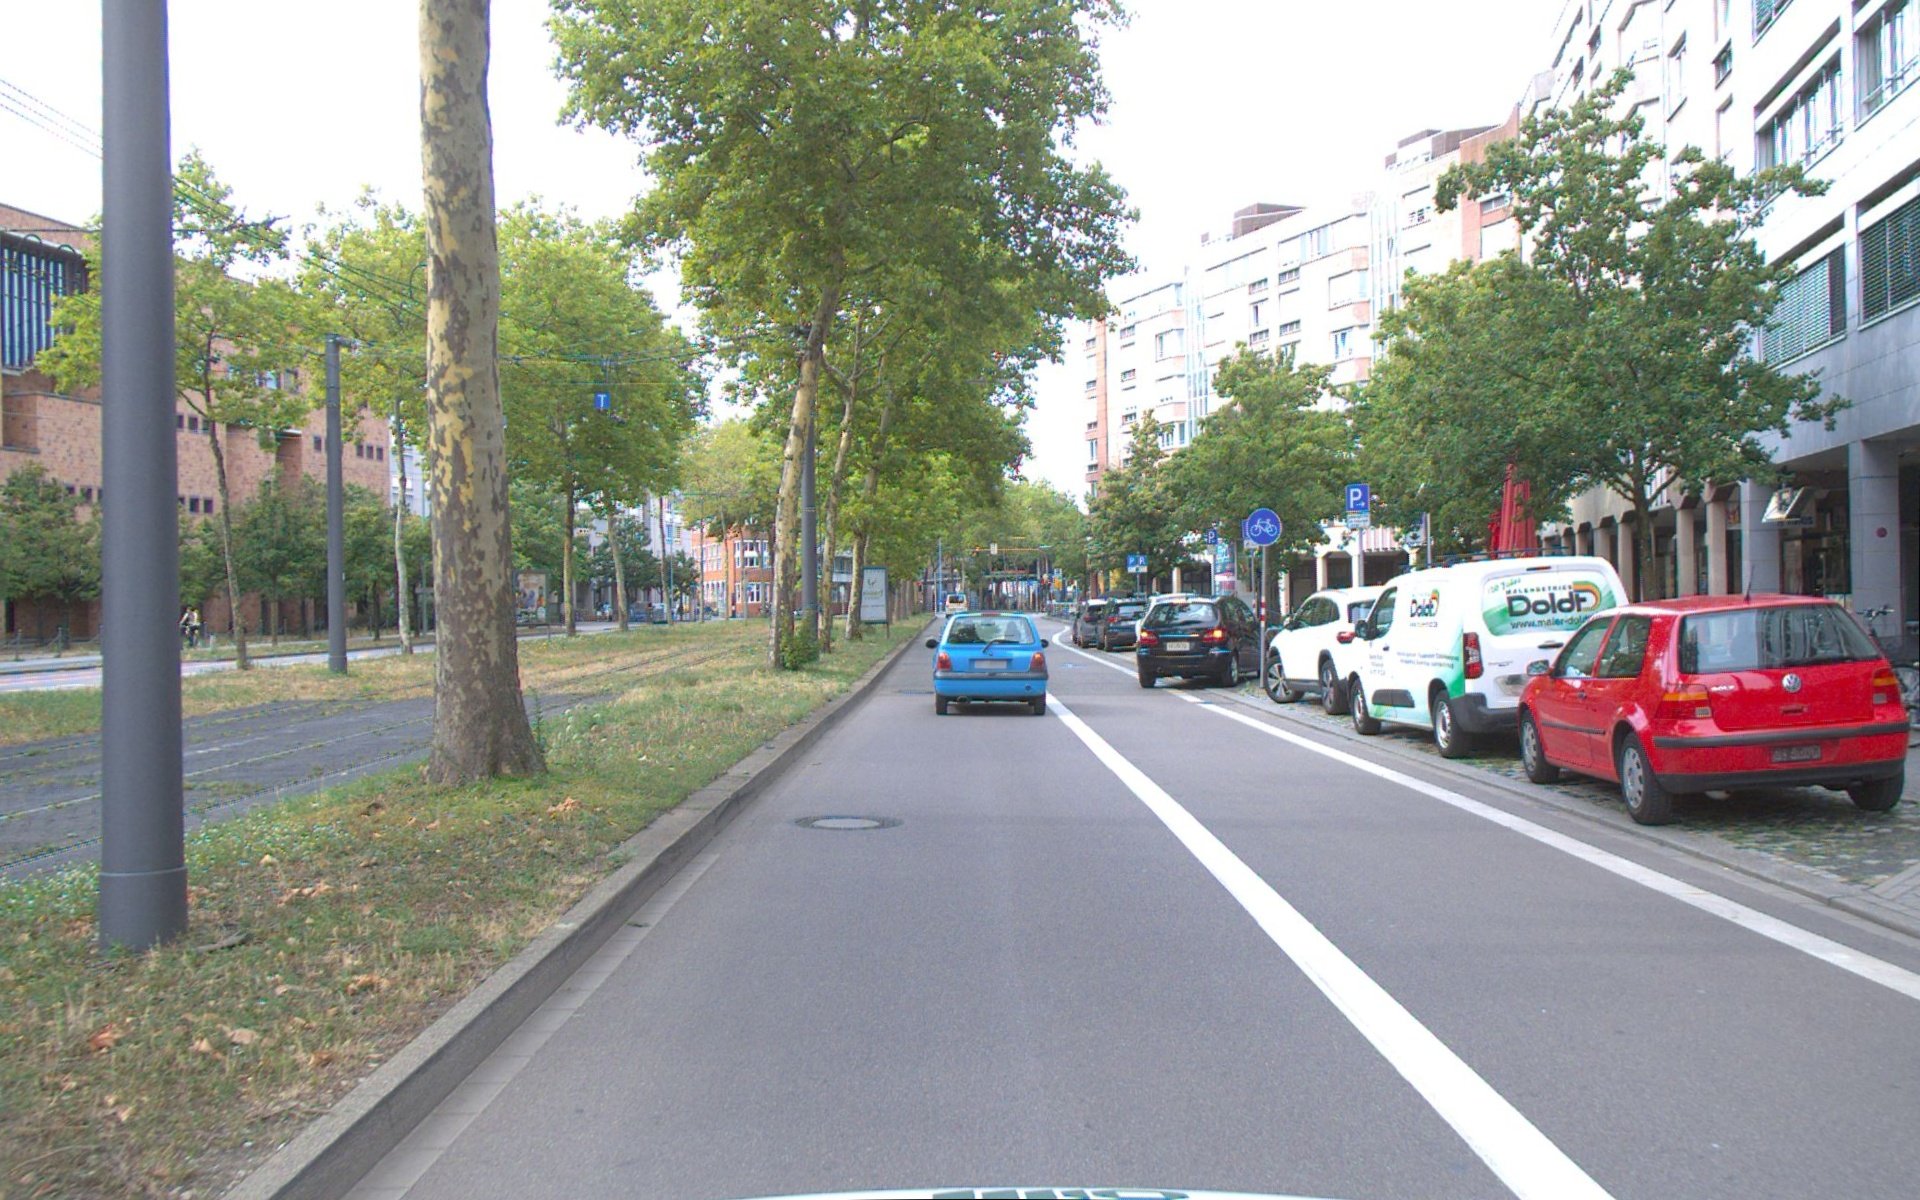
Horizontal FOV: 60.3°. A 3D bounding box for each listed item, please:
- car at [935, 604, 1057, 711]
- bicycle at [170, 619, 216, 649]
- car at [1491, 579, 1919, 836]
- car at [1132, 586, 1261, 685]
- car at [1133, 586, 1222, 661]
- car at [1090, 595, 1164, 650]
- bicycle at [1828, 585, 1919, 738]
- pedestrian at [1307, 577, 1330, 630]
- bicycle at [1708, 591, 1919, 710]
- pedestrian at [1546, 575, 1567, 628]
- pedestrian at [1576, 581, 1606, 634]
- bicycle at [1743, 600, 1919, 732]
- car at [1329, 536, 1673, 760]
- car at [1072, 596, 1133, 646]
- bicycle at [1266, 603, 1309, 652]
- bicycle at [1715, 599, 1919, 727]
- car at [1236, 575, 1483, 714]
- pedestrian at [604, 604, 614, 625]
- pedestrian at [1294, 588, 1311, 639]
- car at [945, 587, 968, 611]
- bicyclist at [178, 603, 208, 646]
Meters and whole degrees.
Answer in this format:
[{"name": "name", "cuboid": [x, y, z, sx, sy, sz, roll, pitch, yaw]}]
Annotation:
[{"name": "car", "cuboid": [0.503, 0.770, 23.943, 1.607, 1.410, 3.843, 0, 0, 1]}, {"name": "bicycle", "cuboid": [-29.268, 1.287, 63.154, 0.654, 1.103, 2.094, -1, 0, 3]}, {"name": "car", "cuboid": [5.336, 0.638, 12.166, 1.686, 1.457, 4.255, -4, 0, 4]}, {"name": "car", "cuboid": [4.482, 0.612, 30.835, 1.737, 1.604, 4.308, -3, 0, 16]}, {"name": "car", "cuboid": [5.329, 0.539, 40.936, 1.822, 1.682, 4.165, -2, 0, 3]}, {"name": "car", "cuboid": [5.035, 0.649, 50.330, 1.680, 1.545, 4.203, -3, 0, -1]}, {"name": "bicycle", "cuboid": [9.014, 0.499, 14.378, 2.578, 1.280, 0.655, -1, 0, 0]}, {"name": "pedestrian", "cuboid": [10.805, 0.112, 49.901, 0.507, 1.597, 0.478, -1, 0, 35]}, {"name": "bicycle", "cuboid": [9.178, 0.535, 17.749, 2.011, 1.218, 0.480, -2, 0, 8]}, {"name": "pedestrian", "cuboid": [18.019, 0.040, 49.966, 0.501, 1.582, 0.473, -2, 0, 13]}, {"name": "pedestrian", "cuboid": [18.933, 0.218, 49.667, 0.695, 1.582, 0.799, -2, 0, 13]}, {"name": "bicycle", "cuboid": [8.672, 0.632, 16.030, 1.868, 1.218, 0.480, -2, 0, 8]}, {"name": "car", "cuboid": [5.352, 0.416, 17.095, 1.790, 1.897, 4.646, -3, 0, -2]}, {"name": "car", "cuboid": [4.727, 0.671, 55.470, 1.704, 1.545, 4.402, -2, 0, 1]}, {"name": "bicycle", "cuboid": [7.319, 0.608, 37.031, 0.593, 1.047, 1.866, -1, 0, 0]}, {"name": "bicycle", "cuboid": [8.713, 0.622, 16.564, 2.011, 1.218, 0.480, -2, 0, 8]}, {"name": "car", "cuboid": [5.480, 0.558, 23.381, 1.956, 1.630, 4.578, -4, 0, -5]}, {"name": "pedestrian", "cuboid": [-29.289, 1.242, 137.880, 0.541, 1.735, 0.885, -1, 0, 5]}, {"name": "pedestrian", "cuboid": [10.197, 0.392, 49.231, 0.402, 1.505, 0.504, -1, 0, 6]}, {"name": "car", "cuboid": [-0.302, -0.129, 139.830, 1.892, 1.959, 4.955, -1, 0, 0]}, {"name": "bicyclist", "cuboid": [-29.270, 0.935, 63.139, 0.650, 1.618, 0.984, -1, 0, 3]}]
